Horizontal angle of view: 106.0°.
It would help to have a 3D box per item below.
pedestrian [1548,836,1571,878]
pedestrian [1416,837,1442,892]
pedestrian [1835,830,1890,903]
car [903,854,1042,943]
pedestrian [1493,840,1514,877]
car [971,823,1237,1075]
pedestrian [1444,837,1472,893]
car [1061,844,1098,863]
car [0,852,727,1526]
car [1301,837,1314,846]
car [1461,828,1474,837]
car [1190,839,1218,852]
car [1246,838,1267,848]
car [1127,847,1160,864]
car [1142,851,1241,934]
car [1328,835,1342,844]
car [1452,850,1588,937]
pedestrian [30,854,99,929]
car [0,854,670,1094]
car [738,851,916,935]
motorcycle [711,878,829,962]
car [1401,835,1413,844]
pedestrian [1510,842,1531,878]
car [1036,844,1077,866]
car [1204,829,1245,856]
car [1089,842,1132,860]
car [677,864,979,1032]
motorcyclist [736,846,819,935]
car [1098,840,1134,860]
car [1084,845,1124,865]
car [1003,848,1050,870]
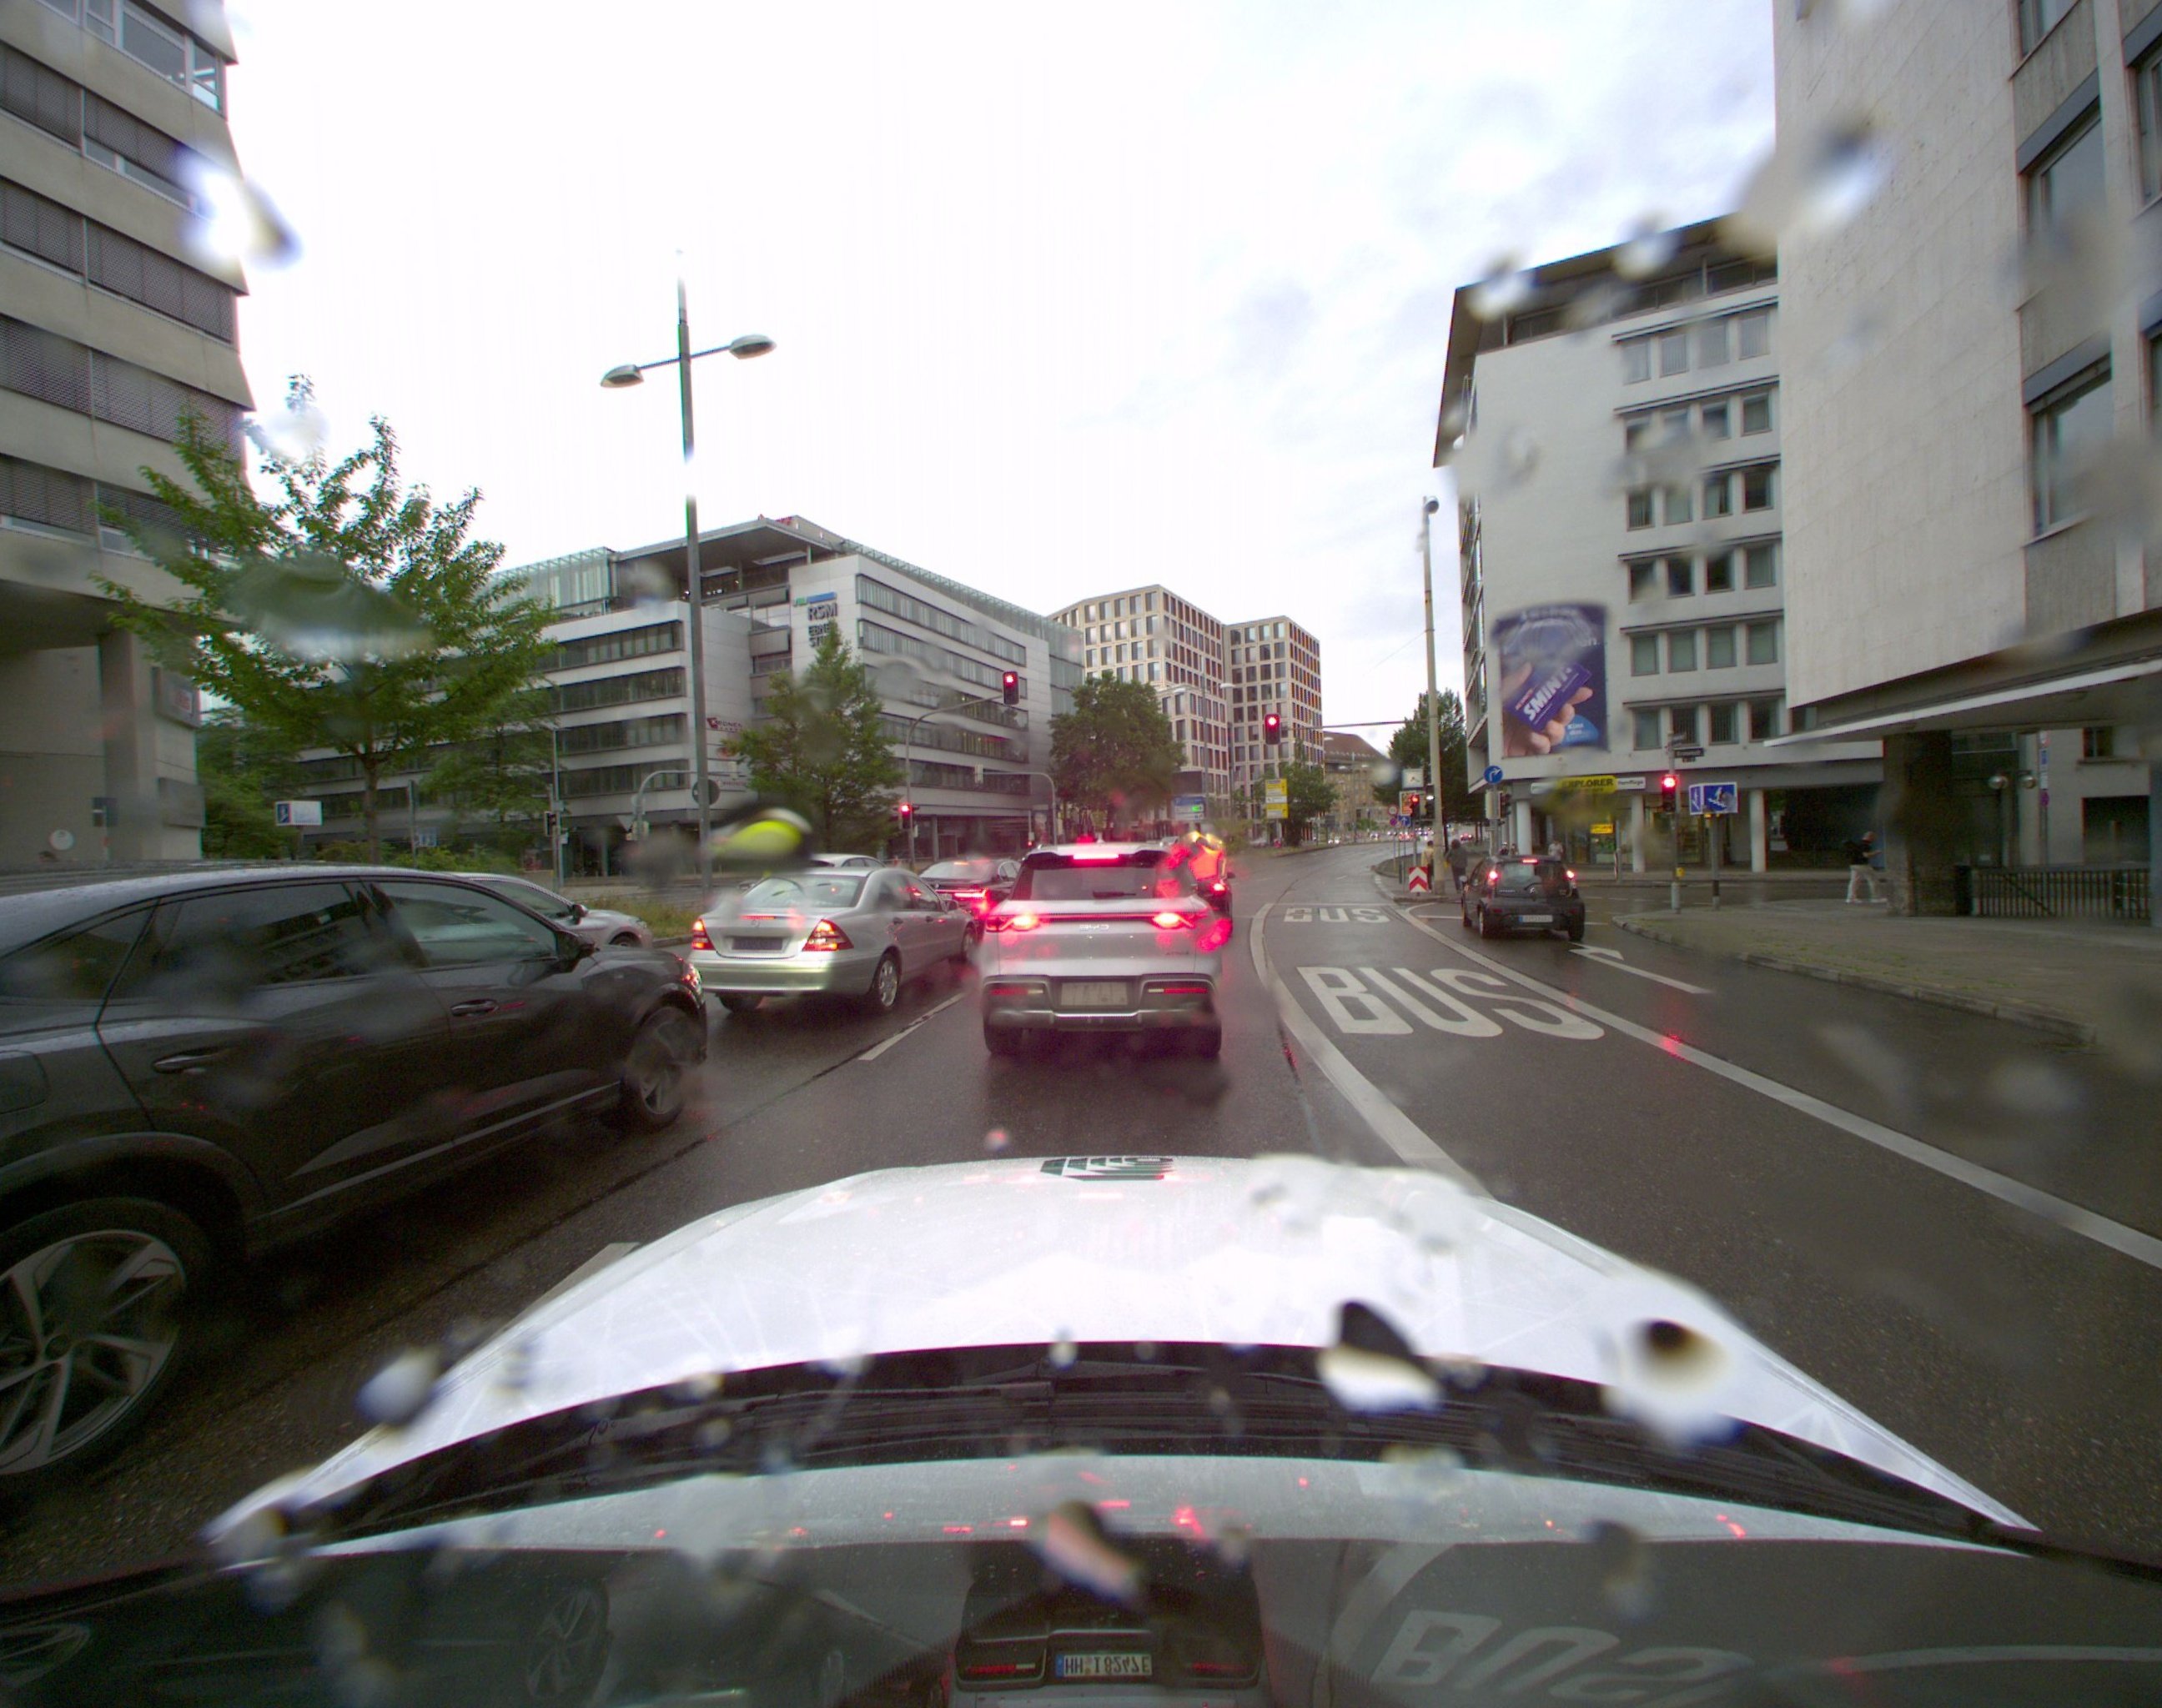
[{"bbox_3d":[20.669,0.108,35.149,0.778,1.794,0.662,-1,0,-45],"label":"pedestrian"},{"bbox_3d":[11.669,0.342,27.312,0.742,1.798,0.821,-1,1,22],"label":"pedestrian"},{"bbox_3d":[19.086,0.303,19.898,0.764,1.731,0.599,-1,0,16],"label":"pedestrian"},{"bbox_3d":[-1.927,0.770,15.669,1.561,1.486,4.010,-1,-1,9],"label":"car"},{"bbox_3d":[18.936,0.190,36.505,0.657,1.655,0.662,-1,0,-45],"label":"pedestrian"},{"bbox_3d":[0.286,0.654,7.468,1.768,1.679,4.004,-1,-1,4],"label":"car"},{"bbox_3d":[12.272,0.354,26.512,0.742,1.798,0.821,-1,1,22],"label":"pedestrian"},{"bbox_3d":[-0.121,-0.057,69.770,1.623,1.571,3.741,-1,-1,28],"label":"car"},{"bbox_3d":[-3.234,0.769,3.219,1.642,1.521,4.274,-1,0,2],"label":"car"},{"bbox_3d":[45.296,-2.502,162.836,1.590,1.741,3.467,-1,-1,34],"label":"car"},{"bbox_3d":[70.734,-3.843,148.858,1.677,1.486,4.025,-1,-1,32],"label":"car"},{"bbox_3d":[14.578,-1.019,96.541,1.974,1.488,4.025,-1,1,29],"label":"car"},{"bbox_3d":[26.394,-1.671,122.620,1.974,1.488,4.025,-1,1,29],"label":"car"},{"bbox_3d":[6.271,0.167,81.306,1.616,1.559,4.620,-1,1,25],"label":"car"},{"bbox_3d":[2.375,0.711,16.697,1.682,1.486,4.013,-1,-1,12],"label":"car"},{"bbox_3d":[40.560,-2.353,130.123,1.616,1.437,3.931,-1,1,25],"label":"car"},{"bbox_3d":[8.165,0.668,15.468,1.558,1.429,4.018,-1,-1,18],"label":"car"},{"bbox_3d":[-23.352,0.846,18.724,0.672,1.683,0.766,-1,0,15],"label":"pedestrian"},{"bbox_3d":[-6.279,0.791,7.764,1.855,1.533,4.786,-1,0,6],"label":"car"},{"bbox_3d":[-4.962,0.707,16.514,1.696,1.486,4.013,-1,-1,11],"label":"car"},{"bbox_3d":[-4.909,1.002,13.018,0.795,1.185,2.034,-1,-1,11],"label":"motorcycle"},{"bbox_3d":[60.451,-2.725,150.944,1.871,1.643,4.023,-1,0,24],"label":"car"},{"bbox_3d":[19.432,0.256,36.024,0.657,1.543,0.618,-1,0,-45],"label":"pedestrian"},{"bbox_3d":[-1.723,0.043,59.506,1.630,1.536,4.172,-1,0,19],"label":"car"},{"bbox_3d":[11.488,-0.876,64.864,1.975,2.014,4.876,-1,-1,25],"label":"car"},{"bbox_3d":[2.737,-0.336,75.091,1.796,1.510,5.228,-1,1,28],"label":"car"},{"bbox_3d":[-2.460,0.834,9.067,1.561,1.407,4.119,-1,-1,8],"label":"car"},{"bbox_3d":[-4.879,0.570,13.151,0.765,1.380,1.121,-1,-1,11],"label":"motorcyclist"},{"bbox_3d":[2.977,-0.354,68.860,1.629,1.581,4.109,-1,0,24],"label":"car"},{"bbox_3d":[1.713,0.071,58.913,1.675,1.385,3.888,-1,-1,21],"label":"car"},{"bbox_3d":[-4.094,0.333,61.773,1.976,1.610,4.022,1,1,22],"label":"car"}]
